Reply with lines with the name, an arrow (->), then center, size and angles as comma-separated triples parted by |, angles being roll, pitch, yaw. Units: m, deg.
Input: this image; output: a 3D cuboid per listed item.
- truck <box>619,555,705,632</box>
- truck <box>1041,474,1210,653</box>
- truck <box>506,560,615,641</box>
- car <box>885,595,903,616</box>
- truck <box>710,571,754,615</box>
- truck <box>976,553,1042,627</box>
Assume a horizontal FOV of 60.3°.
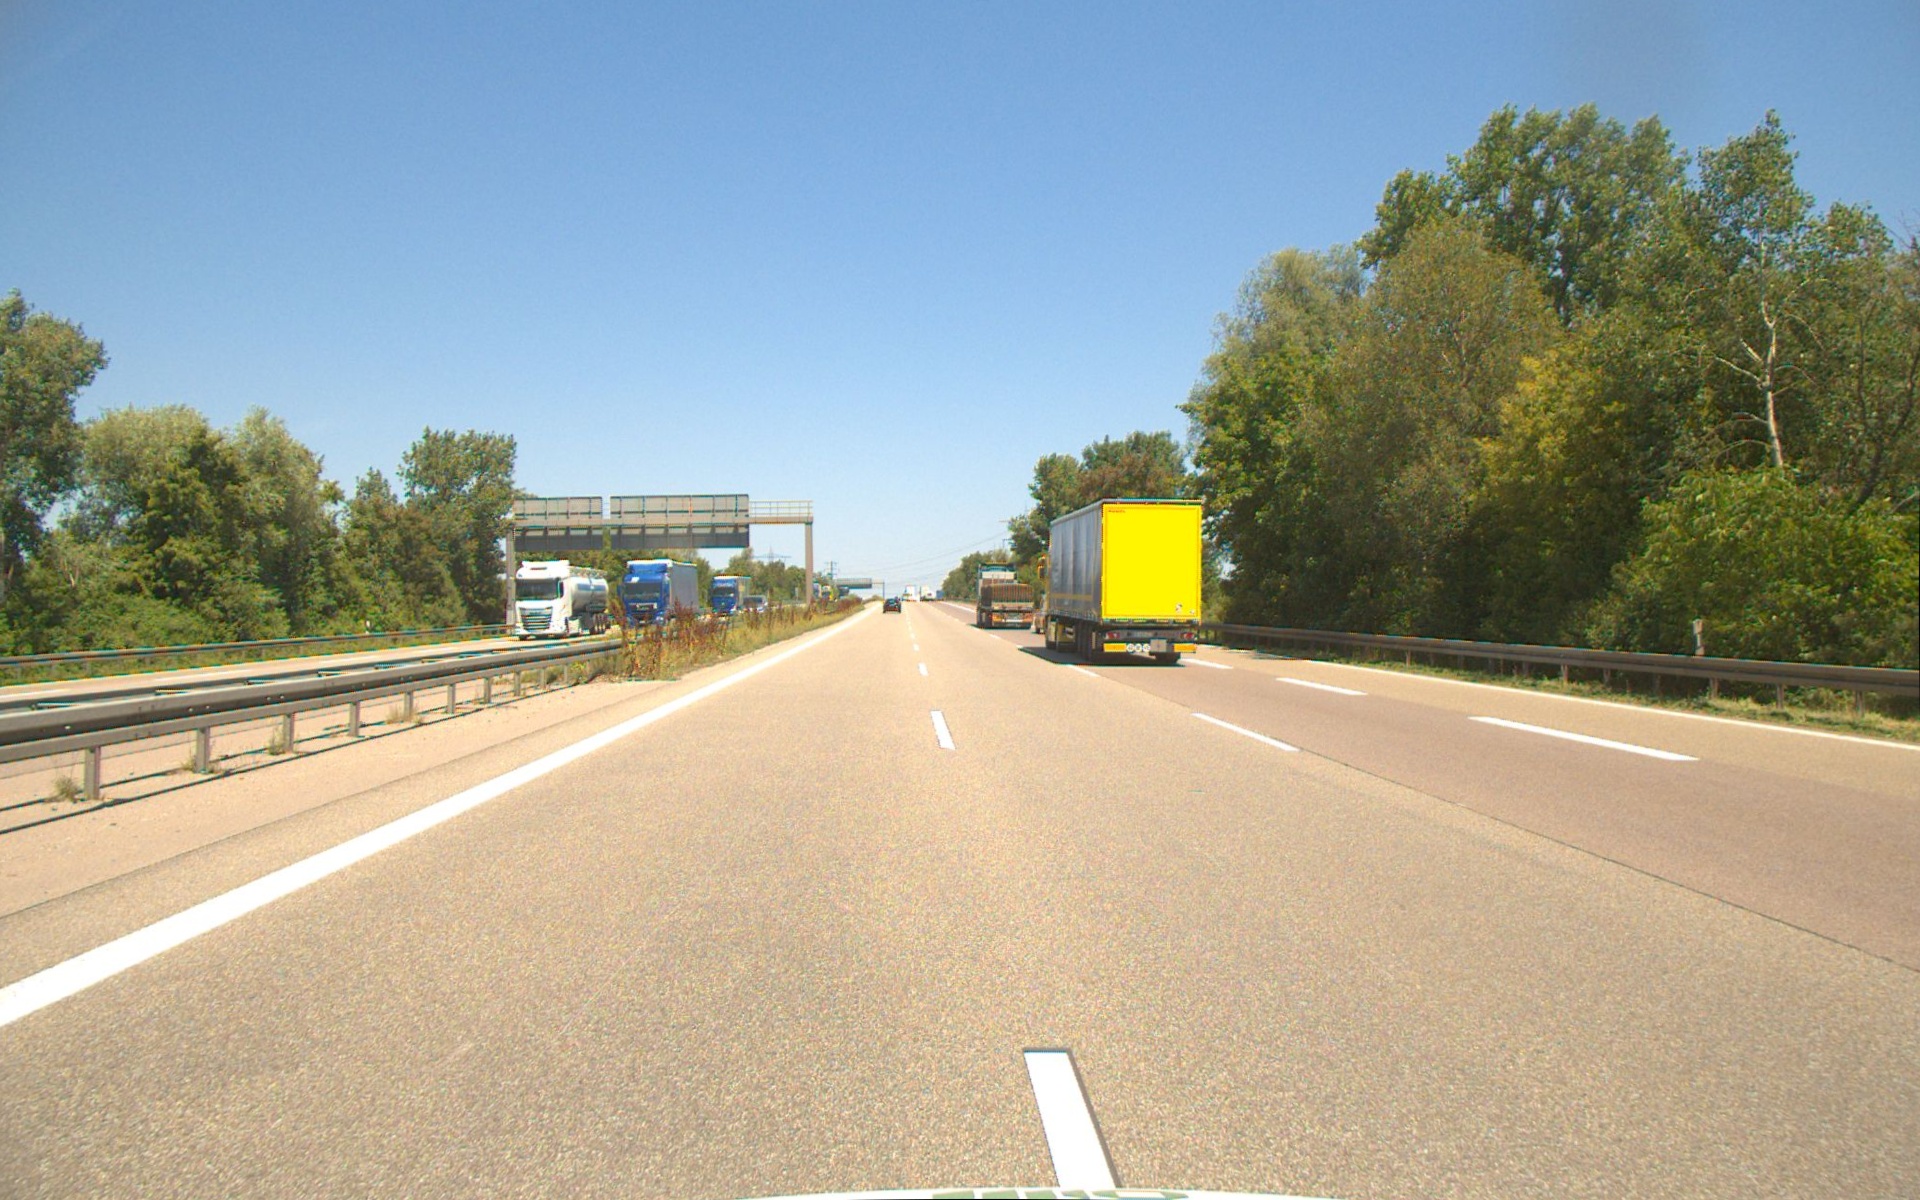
truck -> -18.389, -0.362, 103.215 | 2.896, 4.320, 17.173 | -1, 0, -2
truck -> 4.456, -0.848, 48.834 | 2.788, 4.332, 16.785 | -1, 0, -2
truck -> -22.243, 0.028, 93.126 | 2.896, 4.088, 15.812 | -1, 0, -2
car -> -6.549, 0.536, 163.965 | 1.755, 2.049, 3.886 | 1, -1, -2
truck -> -24.793, -0.725, 180.843 | 2.896, 4.418, 18.232 | -1, 0, -2
truck -> 2.734, -0.486, 98.281 | 2.909, 4.026, 16.606 | 0, 0, -2
